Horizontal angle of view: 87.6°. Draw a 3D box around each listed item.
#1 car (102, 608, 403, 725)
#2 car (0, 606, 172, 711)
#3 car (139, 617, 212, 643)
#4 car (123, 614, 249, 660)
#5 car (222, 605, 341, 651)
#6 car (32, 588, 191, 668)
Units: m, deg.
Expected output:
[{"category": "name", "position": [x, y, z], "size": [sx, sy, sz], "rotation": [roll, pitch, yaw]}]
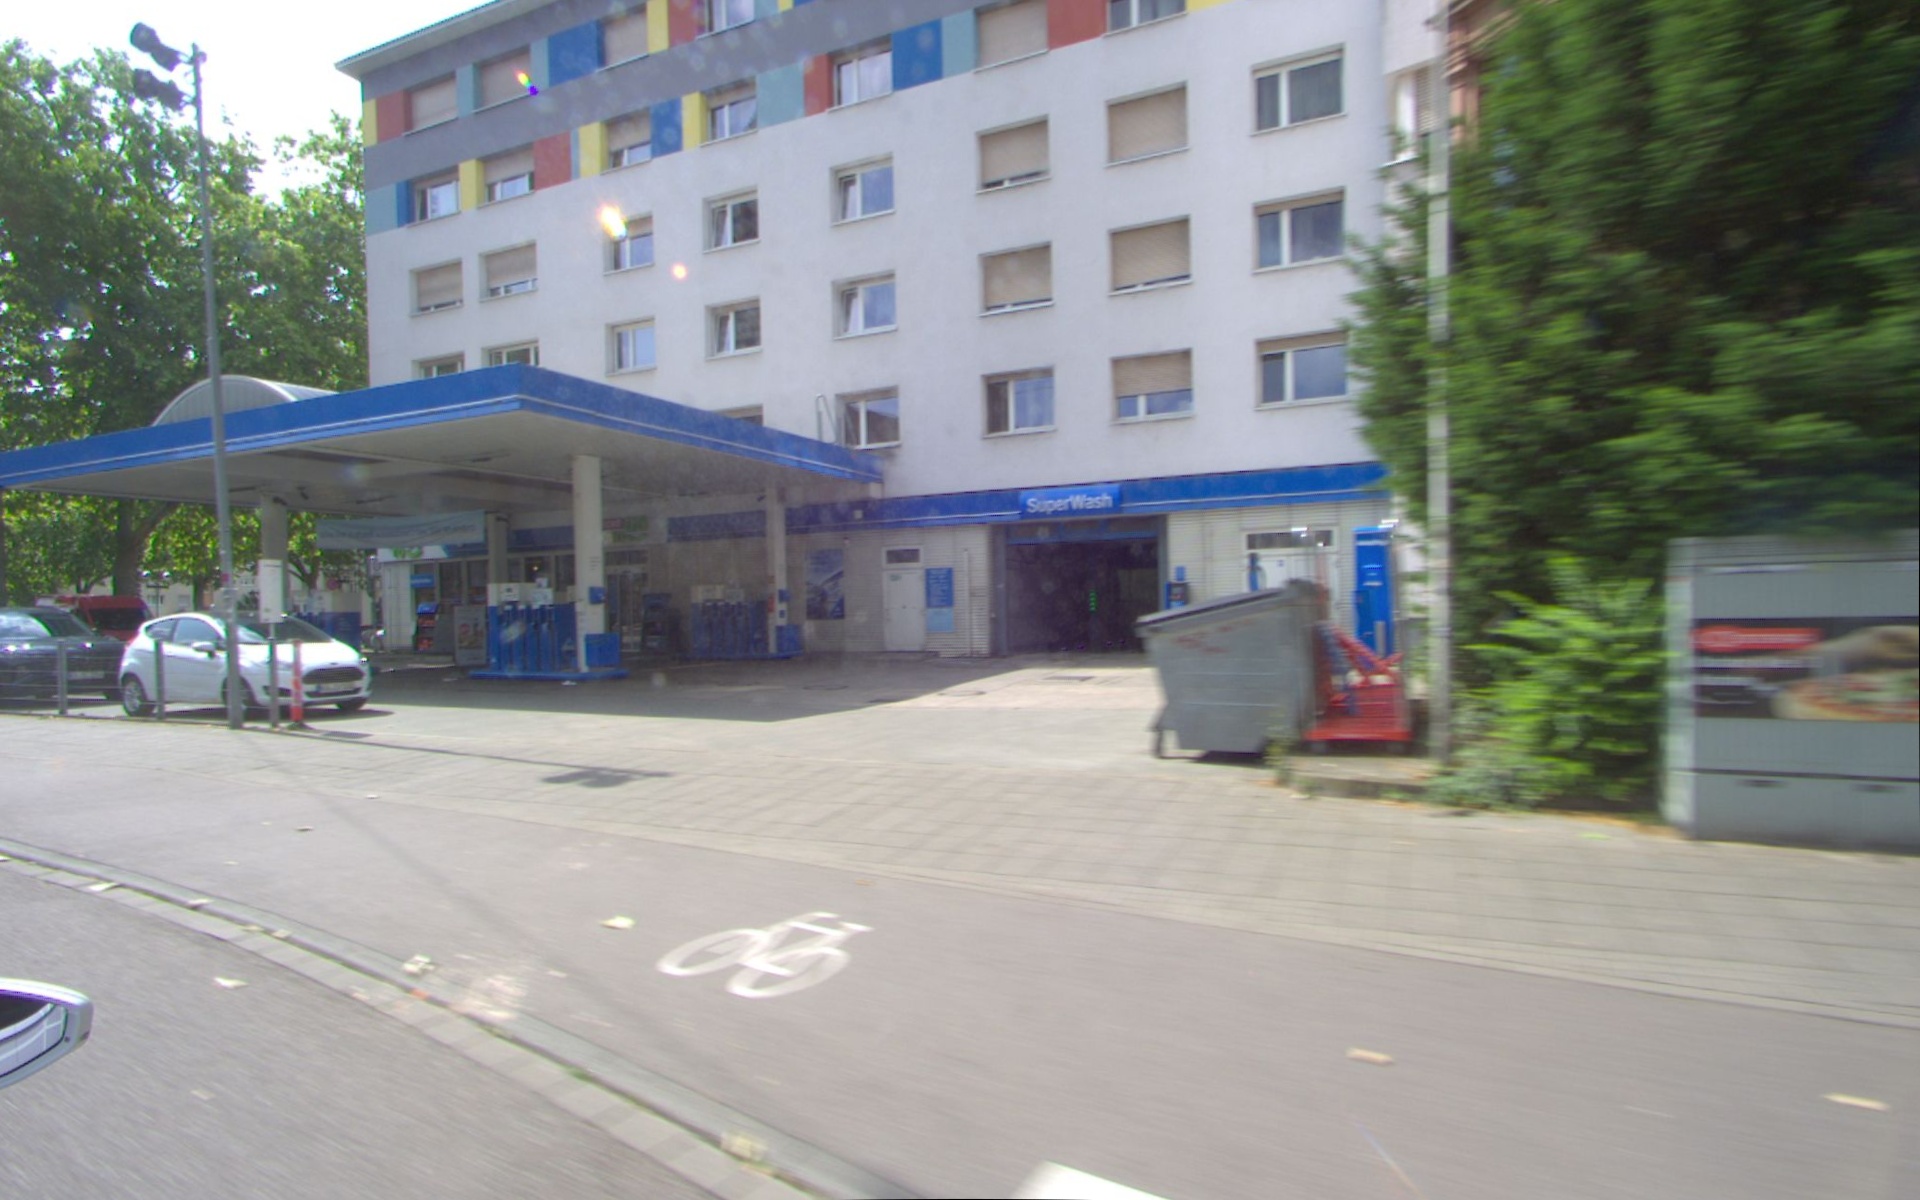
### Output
[{"category": "car", "position": [-10.134, 0.888, 14.333], "size": [3.936, 1.474, 1.806], "rotation": [-1, -1, 25]}, {"category": "car", "position": [-15.905, 0.958, 17.328], "size": [4.510, 1.623, 1.805], "rotation": [-1, -1, 27]}, {"category": "car", "position": [-66.528, 2.506, 84.969], "size": [2.044, 2.040, 4.412], "rotation": [-1, 0, 27]}, {"category": "car", "position": [-29.182, 1.388, 37.736], "size": [4.579, 1.672, 2.006], "rotation": [-1, -1, 27]}, {"category": "car", "position": [-27.170, 1.132, 40.087], "size": [4.579, 1.777, 2.006], "rotation": [-1, -1, 27]}, {"category": "car", "position": [-29.671, 0.962, 34.984], "size": [5.925, 2.616, 2.110], "rotation": [-1, 0, 27]}]
